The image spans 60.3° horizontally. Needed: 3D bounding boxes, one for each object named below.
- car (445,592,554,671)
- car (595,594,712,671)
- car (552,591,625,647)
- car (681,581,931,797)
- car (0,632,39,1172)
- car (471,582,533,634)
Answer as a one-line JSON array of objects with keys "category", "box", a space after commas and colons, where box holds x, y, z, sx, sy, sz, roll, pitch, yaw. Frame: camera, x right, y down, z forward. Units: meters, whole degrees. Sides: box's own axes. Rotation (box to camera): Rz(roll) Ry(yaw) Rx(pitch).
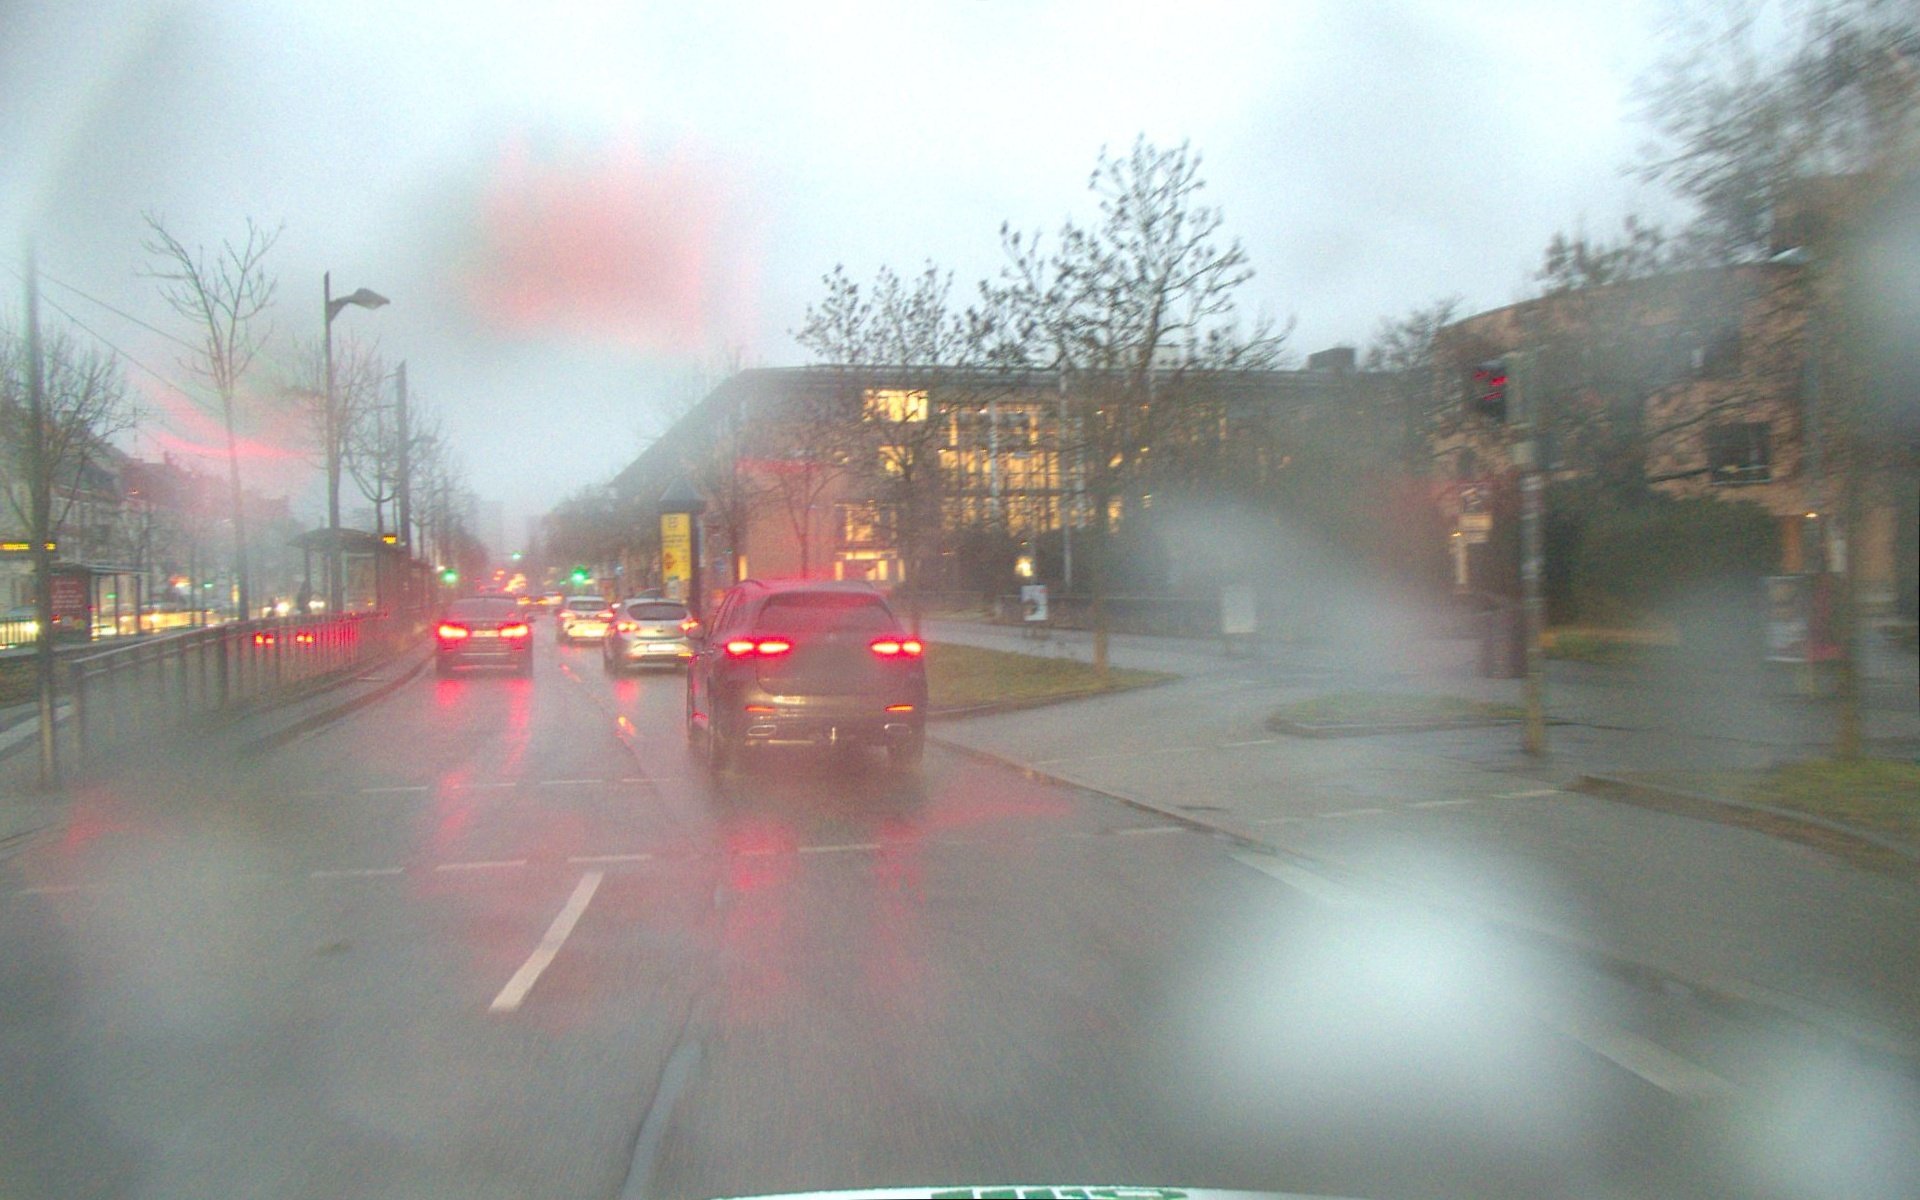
[{"category": "car", "box": [-9.299, 0.583, 33.356, 1.962, 1.422, 3.982, -2, 1, -16]}, {"category": "car", "box": [-6.419, 0.628, 34.309, 1.962, 1.432, 3.982, -2, 1, -16]}, {"category": "car", "box": [-11.852, 0.576, 52.658, 1.962, 1.646, 3.982, -2, 1, -16]}, {"category": "car", "box": [-1.505, 0.686, 15.259, 1.954, 1.644, 3.993, -2, 1, -8]}, {"category": "car", "box": [-3.441, 0.916, 2.814, 1.594, 1.513, 3.998, -2, 1, -3]}, {"category": "car", "box": [-15.863, 0.249, 57.191, 1.962, 1.646, 3.982, -2, 1, -16]}]
